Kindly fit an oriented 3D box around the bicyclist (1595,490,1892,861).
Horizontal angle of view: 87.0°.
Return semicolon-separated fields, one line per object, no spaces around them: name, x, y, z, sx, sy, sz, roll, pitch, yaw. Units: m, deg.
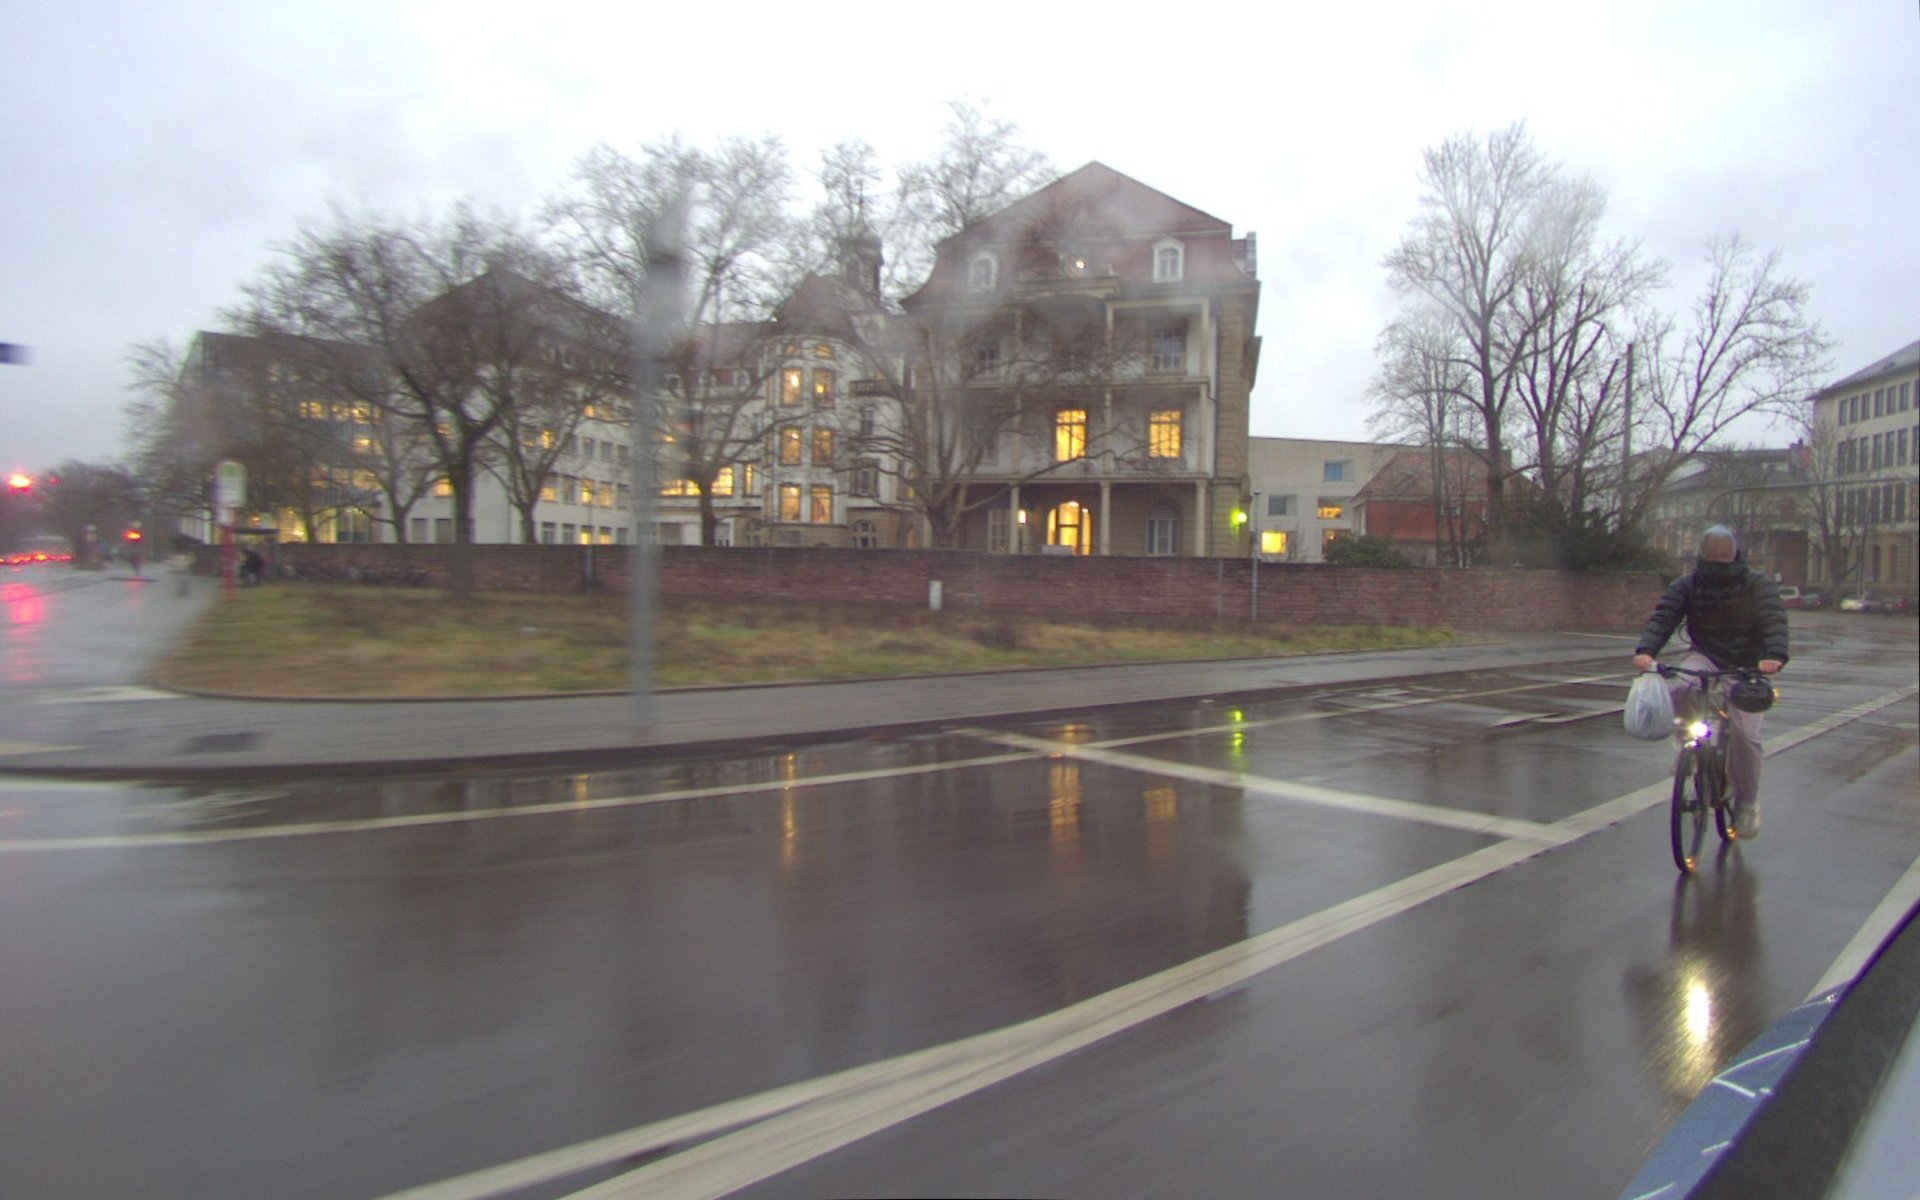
bicyclist;4.592;0.357;5.954;1.212;1.906;1.028;-2;2;-34

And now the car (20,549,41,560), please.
car;-149.653;-7.351;162.964;1.962;1.587;4.471;2;1;-35

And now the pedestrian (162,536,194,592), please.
pedestrian;-26.369;-1.209;34.134;0.794;1.853;0.947;1;2;-40

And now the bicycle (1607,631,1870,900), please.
bicycle;4.700;0.877;6.068;1.869;1.237;0.794;-2;3;-38

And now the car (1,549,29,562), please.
car;-121.430;-5.663;130.047;1.962;1.587;4.471;2;1;-35

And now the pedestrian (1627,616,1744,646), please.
pedestrian;24.675;1.040;34.491;3.061;0.942;0.942;0;0;20

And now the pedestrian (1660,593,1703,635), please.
pedestrian;24.614;0.472;34.542;0.970;1.333;0.810;2;2;20

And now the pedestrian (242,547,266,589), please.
pedestrian;-31.497;-1.424;45.157;0.794;1.853;0.947;1;2;-40

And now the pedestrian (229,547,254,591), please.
pedestrian;-31.018;-1.351;43.674;0.794;1.853;0.947;1;2;-40
